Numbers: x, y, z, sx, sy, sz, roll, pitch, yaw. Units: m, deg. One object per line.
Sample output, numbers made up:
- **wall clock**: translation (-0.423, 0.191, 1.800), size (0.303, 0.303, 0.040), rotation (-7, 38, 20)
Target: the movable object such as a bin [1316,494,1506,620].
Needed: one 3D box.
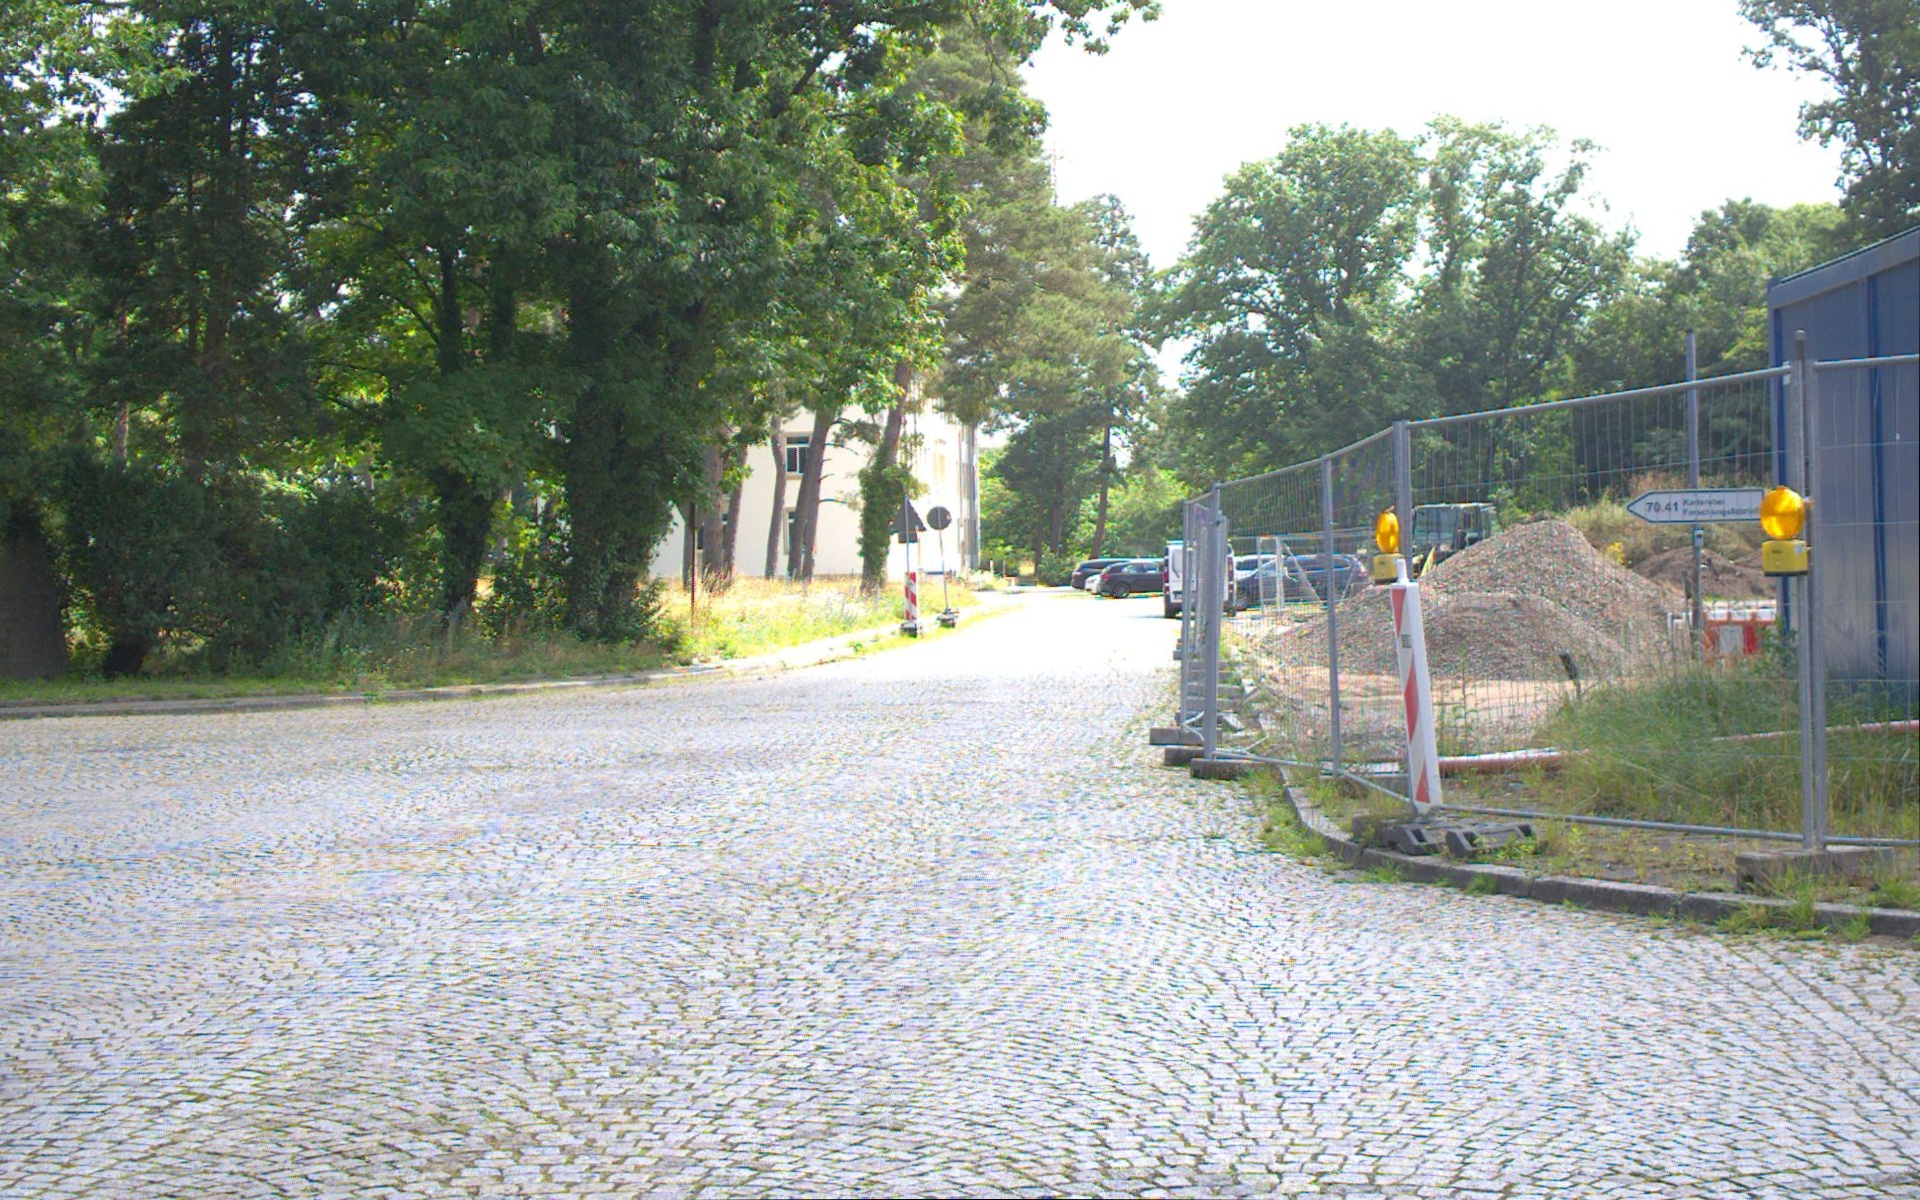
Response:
- **movable object such as a bin**: translation (9.609, -0.917, 72.896), size (2.132, 2.584, 4.782), rotation (-1, 1, 33)

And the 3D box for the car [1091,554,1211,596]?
- **car**: translation (7.844, -1.040, 141.726), size (4.779, 1.635, 2.000), rotation (-1, 0, -2)

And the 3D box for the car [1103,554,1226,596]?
- **car**: translation (8.227, -1.008, 138.603), size (4.779, 1.635, 2.000), rotation (-1, 0, -2)

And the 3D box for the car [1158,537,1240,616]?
- **car**: translation (6.273, -0.618, 90.444), size (1.993, 2.007, 4.091), rotation (-1, 0, 2)

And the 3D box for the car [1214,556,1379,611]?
- **car**: translation (9.399, -0.460, 95.836), size (4.405, 1.505, 1.999), rotation (0, 1, 12)
